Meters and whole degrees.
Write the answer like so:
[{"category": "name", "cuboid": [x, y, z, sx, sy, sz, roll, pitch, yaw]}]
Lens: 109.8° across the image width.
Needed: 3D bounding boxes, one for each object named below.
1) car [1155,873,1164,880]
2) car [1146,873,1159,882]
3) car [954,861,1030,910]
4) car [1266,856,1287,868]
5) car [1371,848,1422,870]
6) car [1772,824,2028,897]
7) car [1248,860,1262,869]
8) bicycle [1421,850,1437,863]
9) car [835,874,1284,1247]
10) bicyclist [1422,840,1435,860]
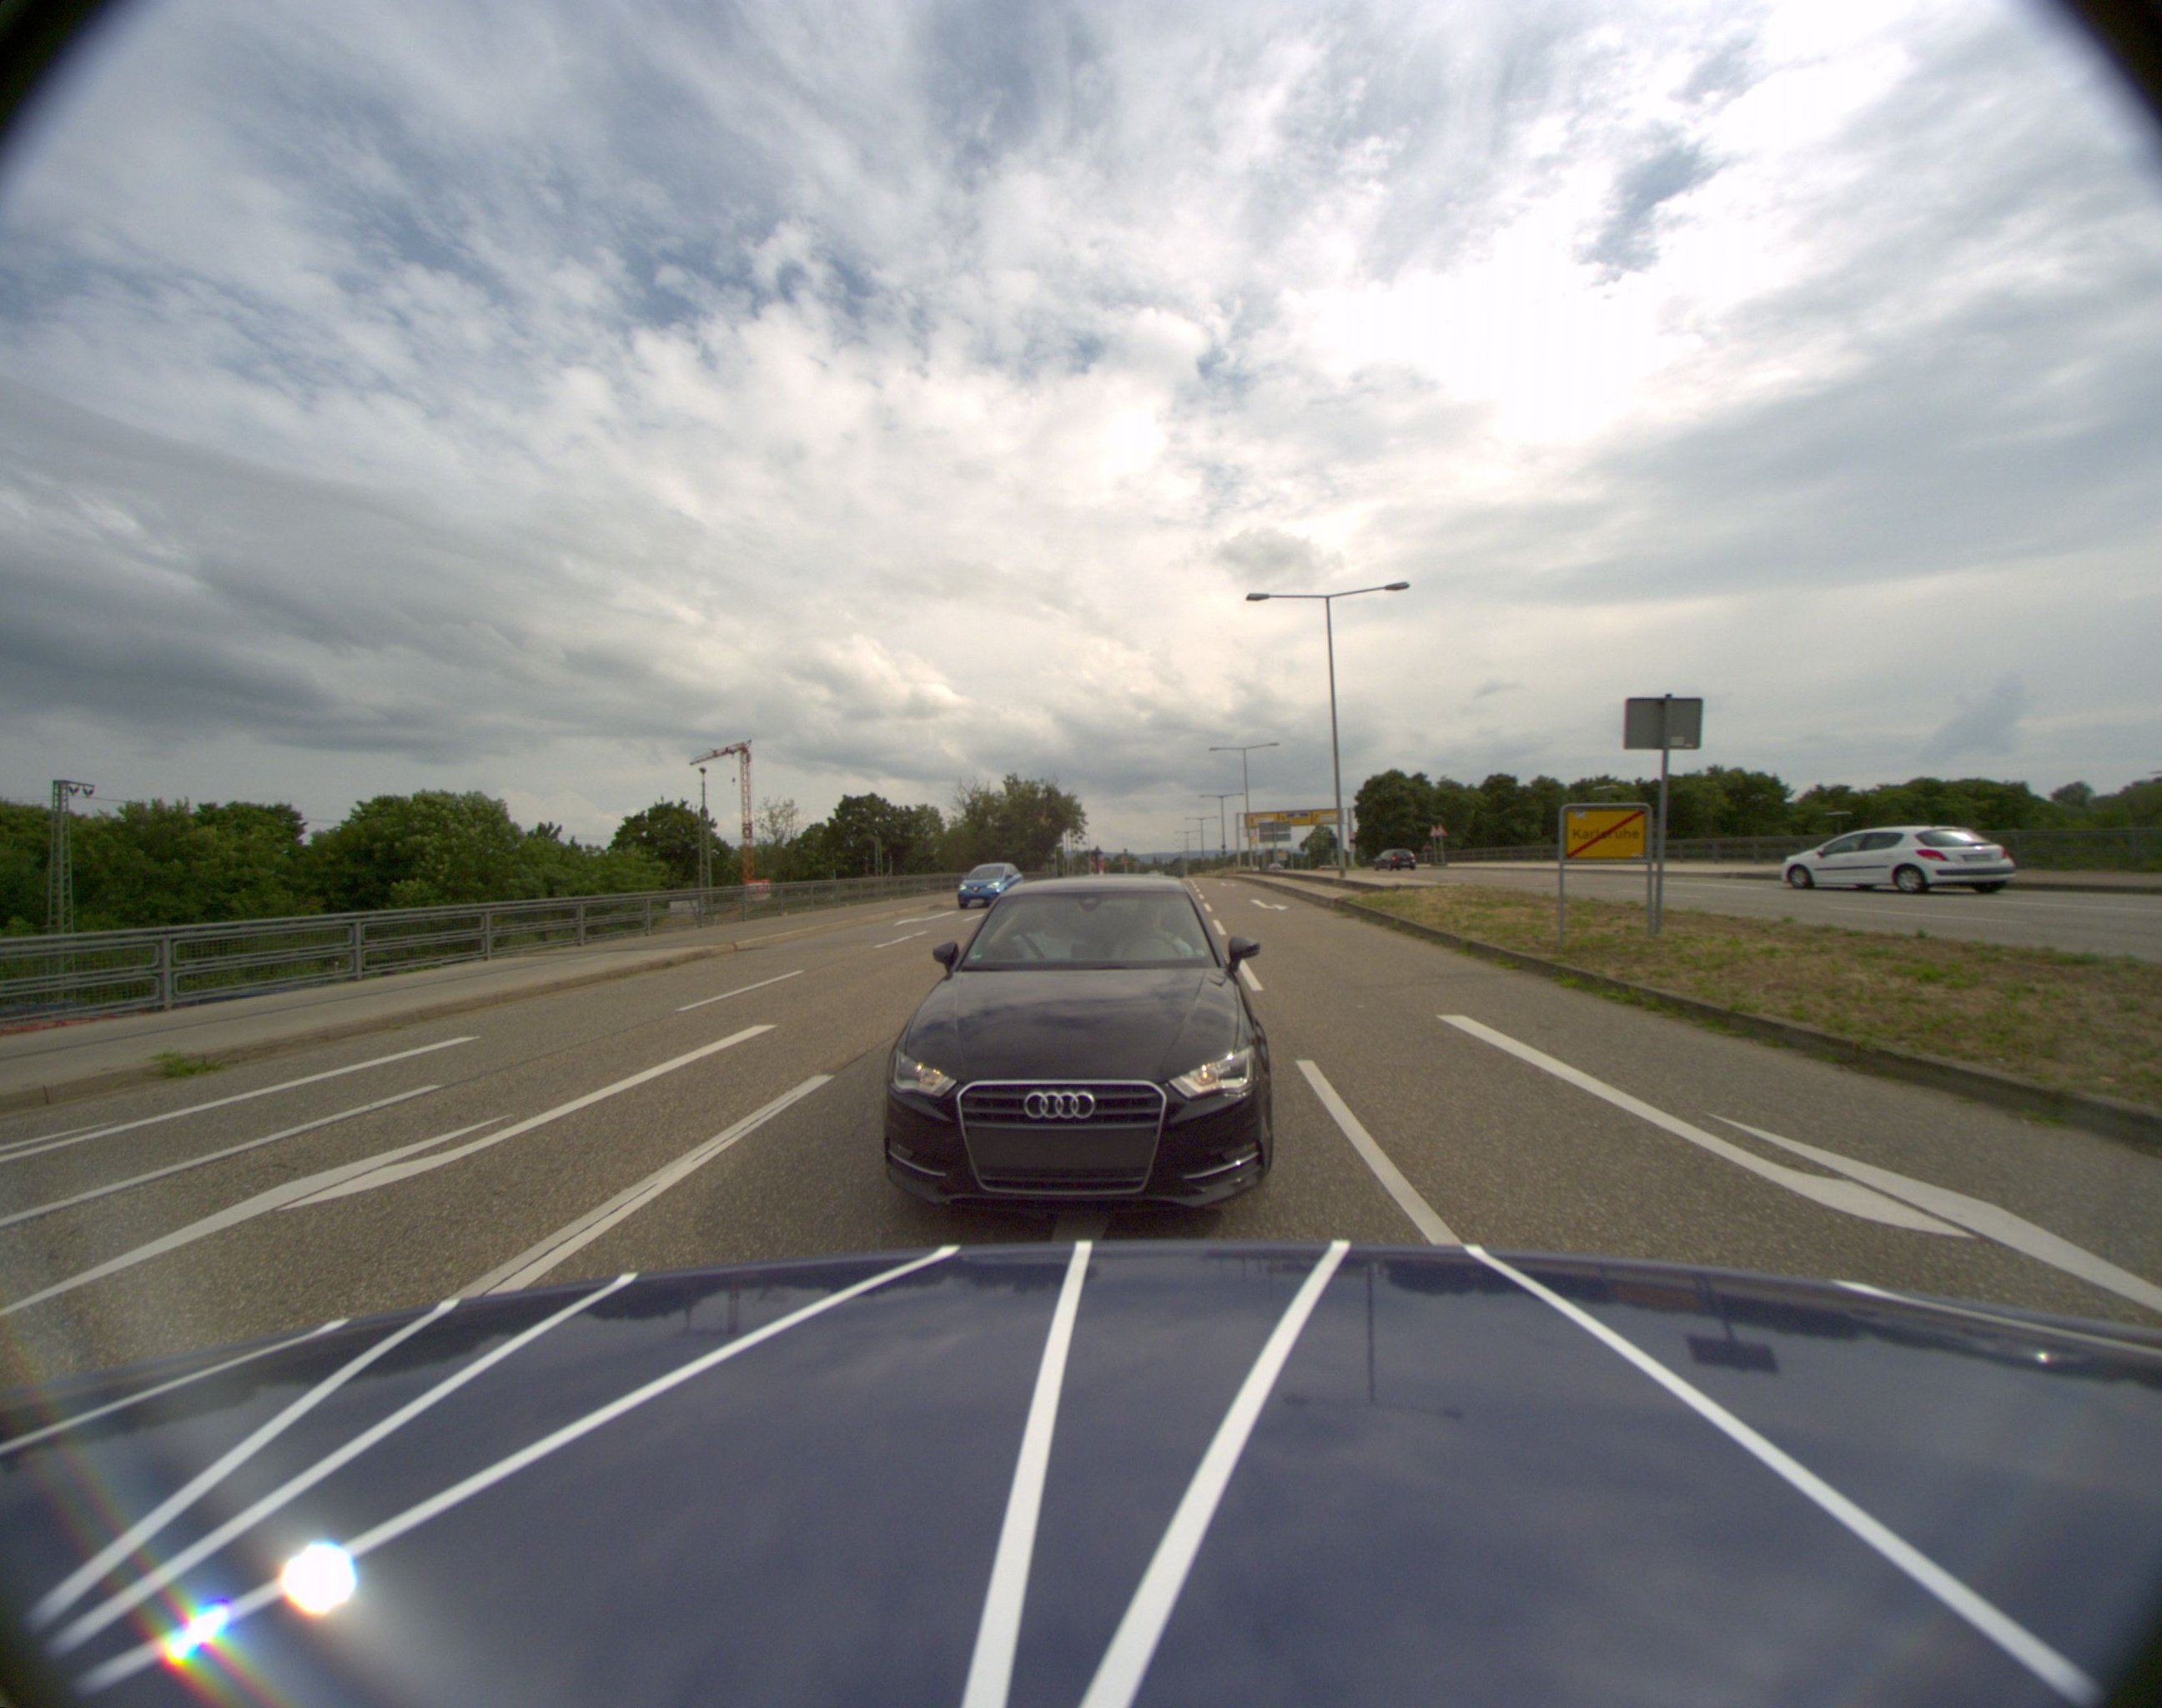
[{"category": "car", "cuboid": [17.504, 4.957, 169.657, 1.860, 1.335, 4.002, -2, 0, 7]}, {"category": "car", "cuboid": [11.167, 3.672, 118.516, 1.860, 1.335, 4.002, -2, 0, 7]}, {"category": "car", "cuboid": [-3.228, 1.117, 28.358, 1.724, 1.512, 3.952, -4, 0, 9]}, {"category": "car", "cuboid": [25.368, 1.023, 98.596, 1.825, 1.438, 4.354, -2, 0, 5]}, {"category": "car", "cuboid": [21.697, 0.338, 52.418, 1.797, 1.410, 4.000, -2, 0, 0]}, {"category": "car", "cuboid": [18.558, 0.112, 17.520, 1.730, 1.437, 3.876, -2, 1, 0]}, {"category": "car", "cuboid": [27.125, 1.620, 118.567, 1.619, 1.402, 3.862, -1, 0, 6]}, {"category": "bicycle", "cuboid": [29.292, 0.189, 63.996, 0.685, 1.047, 1.996, -3, 0, 8]}, {"category": "car", "cuboid": [0.160, 0.933, 5.534, 1.851, 1.355, 4.731, -2, 0, 7]}, {"category": "bicyclist", "cuboid": [29.265, -0.311, 63.946, 0.685, 1.662, 0.848, -3, 0, 7]}]
